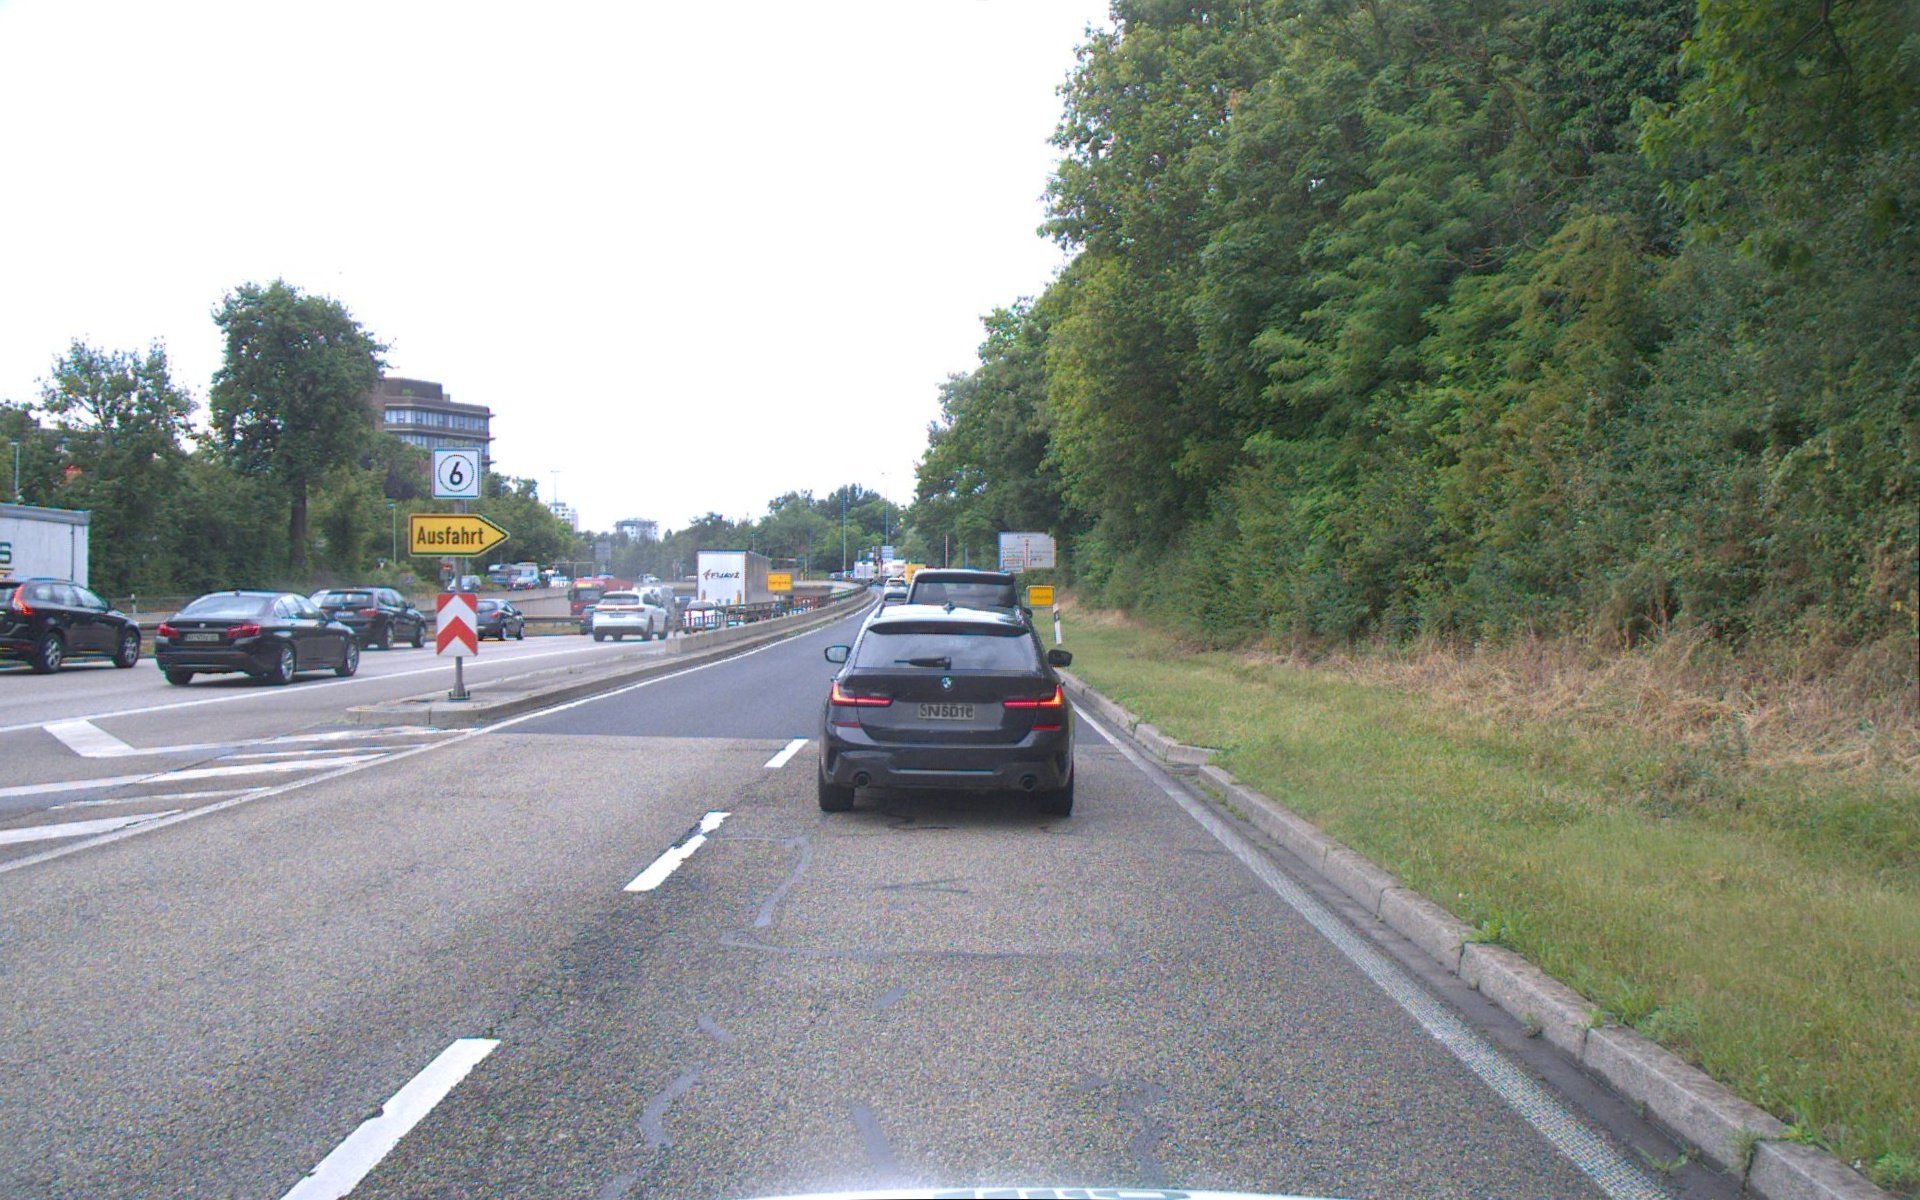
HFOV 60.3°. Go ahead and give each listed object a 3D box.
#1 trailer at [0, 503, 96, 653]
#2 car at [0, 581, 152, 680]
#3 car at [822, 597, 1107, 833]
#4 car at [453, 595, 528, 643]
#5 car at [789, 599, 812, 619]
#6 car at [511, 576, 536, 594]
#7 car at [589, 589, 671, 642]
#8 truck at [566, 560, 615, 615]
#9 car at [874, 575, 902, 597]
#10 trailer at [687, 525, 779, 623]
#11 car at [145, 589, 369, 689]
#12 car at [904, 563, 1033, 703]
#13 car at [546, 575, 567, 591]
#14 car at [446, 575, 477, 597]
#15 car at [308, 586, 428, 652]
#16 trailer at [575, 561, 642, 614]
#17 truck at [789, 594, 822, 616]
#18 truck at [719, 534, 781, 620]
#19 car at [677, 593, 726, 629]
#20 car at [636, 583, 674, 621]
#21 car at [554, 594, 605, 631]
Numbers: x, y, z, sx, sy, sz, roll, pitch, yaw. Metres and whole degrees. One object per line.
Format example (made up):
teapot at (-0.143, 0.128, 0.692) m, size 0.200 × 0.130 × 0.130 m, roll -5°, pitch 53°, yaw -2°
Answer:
trailer at (-27.198, -0.597, 42.885) m, size 2.541 × 4.052 × 13.780 m, roll 0°, pitch 0°, yaw -1°
car at (-16.602, 0.501, 30.092) m, size 1.716 × 1.664 × 4.266 m, roll 1°, pitch 0°, yaw 0°
car at (-0.038, 0.740, 12.597) m, size 1.809 × 1.492 × 3.998 m, roll 1°, pitch 0°, yaw -2°
car at (-16.878, 0.662, 59.623) m, size 1.653 × 1.636 × 4.007 m, roll 1°, pitch 0°, yaw -2°
car at (-12.359, 0.699, 128.172) m, size 1.418 × 1.516 × 3.062 m, roll 0°, pitch 0°, yaw 0°
car at (-38.679, -1.314, 146.621) m, size 1.408 × 1.614 × 3.243 m, roll 0°, pitch 0°, yaw -1°
car at (-11.422, 0.509, 57.543) m, size 1.906 × 1.721 × 4.507 m, roll 1°, pitch 0°, yaw 0°
truck at (-28.537, -0.961, 127.882) m, size 2.706 × 4.136 × 4.906 m, roll 0°, pitch 0°, yaw -1°
car at (-5.435, -1.061, 125.780) m, size 1.891 × 1.624 × 3.877 m, roll 0°, pitch 0°, yaw 1°
trailer at (-12.112, -1.310, 89.722) m, size 3.069 × 4.807 × 14.556 m, roll 1°, pitch 0°, yaw -1°
car at (-11.437, 0.578, 27.295) m, size 1.677 × 1.482 × 4.666 m, roll 1°, pitch 0°, yaw 0°
car at (0.105, 0.453, 24.728) m, size 1.759 × 1.905 × 4.000 m, roll 1°, pitch 0°, yaw 0°
car at (-39.738, -1.662, 163.006) m, size 1.409 × 1.471 × 3.242 m, roll 0°, pitch 0°, yaw -3°
car at (-37.948, -1.061, 126.014) m, size 1.408 × 1.601 × 3.243 m, roll 0°, pitch 0°, yaw -1°
car at (-16.171, 0.489, 45.383) m, size 1.852 × 1.711 × 4.305 m, roll 0°, pitch 0°, yaw -2°
trailer at (-28.704, -0.999, 135.643) m, size 2.708 × 4.135 × 13.351 m, roll 0°, pitch 0°, yaw 0°
truck at (-17.931, 0.527, 192.070) m, size 3.207 × 2.553 × 7.659 m, roll 0°, pitch 0°, yaw -1°
truck at (-12.157, -1.307, 96.246) m, size 3.021 × 4.780 × 4.231 m, roll 1°, pitch 0°, yaw -1°
car at (-11.559, 0.483, 74.088) m, size 1.733 × 1.577 × 3.491 m, roll 0°, pitch 0°, yaw -2°
car at (-16.924, 0.119, 91.849) m, size 1.414 × 2.080 × 3.680 m, roll 0°, pitch 0°, yaw 0°
car at (-18.072, 0.590, 78.675) m, size 1.653 × 1.660 × 3.733 m, roll 1°, pitch 0°, yaw -2°
